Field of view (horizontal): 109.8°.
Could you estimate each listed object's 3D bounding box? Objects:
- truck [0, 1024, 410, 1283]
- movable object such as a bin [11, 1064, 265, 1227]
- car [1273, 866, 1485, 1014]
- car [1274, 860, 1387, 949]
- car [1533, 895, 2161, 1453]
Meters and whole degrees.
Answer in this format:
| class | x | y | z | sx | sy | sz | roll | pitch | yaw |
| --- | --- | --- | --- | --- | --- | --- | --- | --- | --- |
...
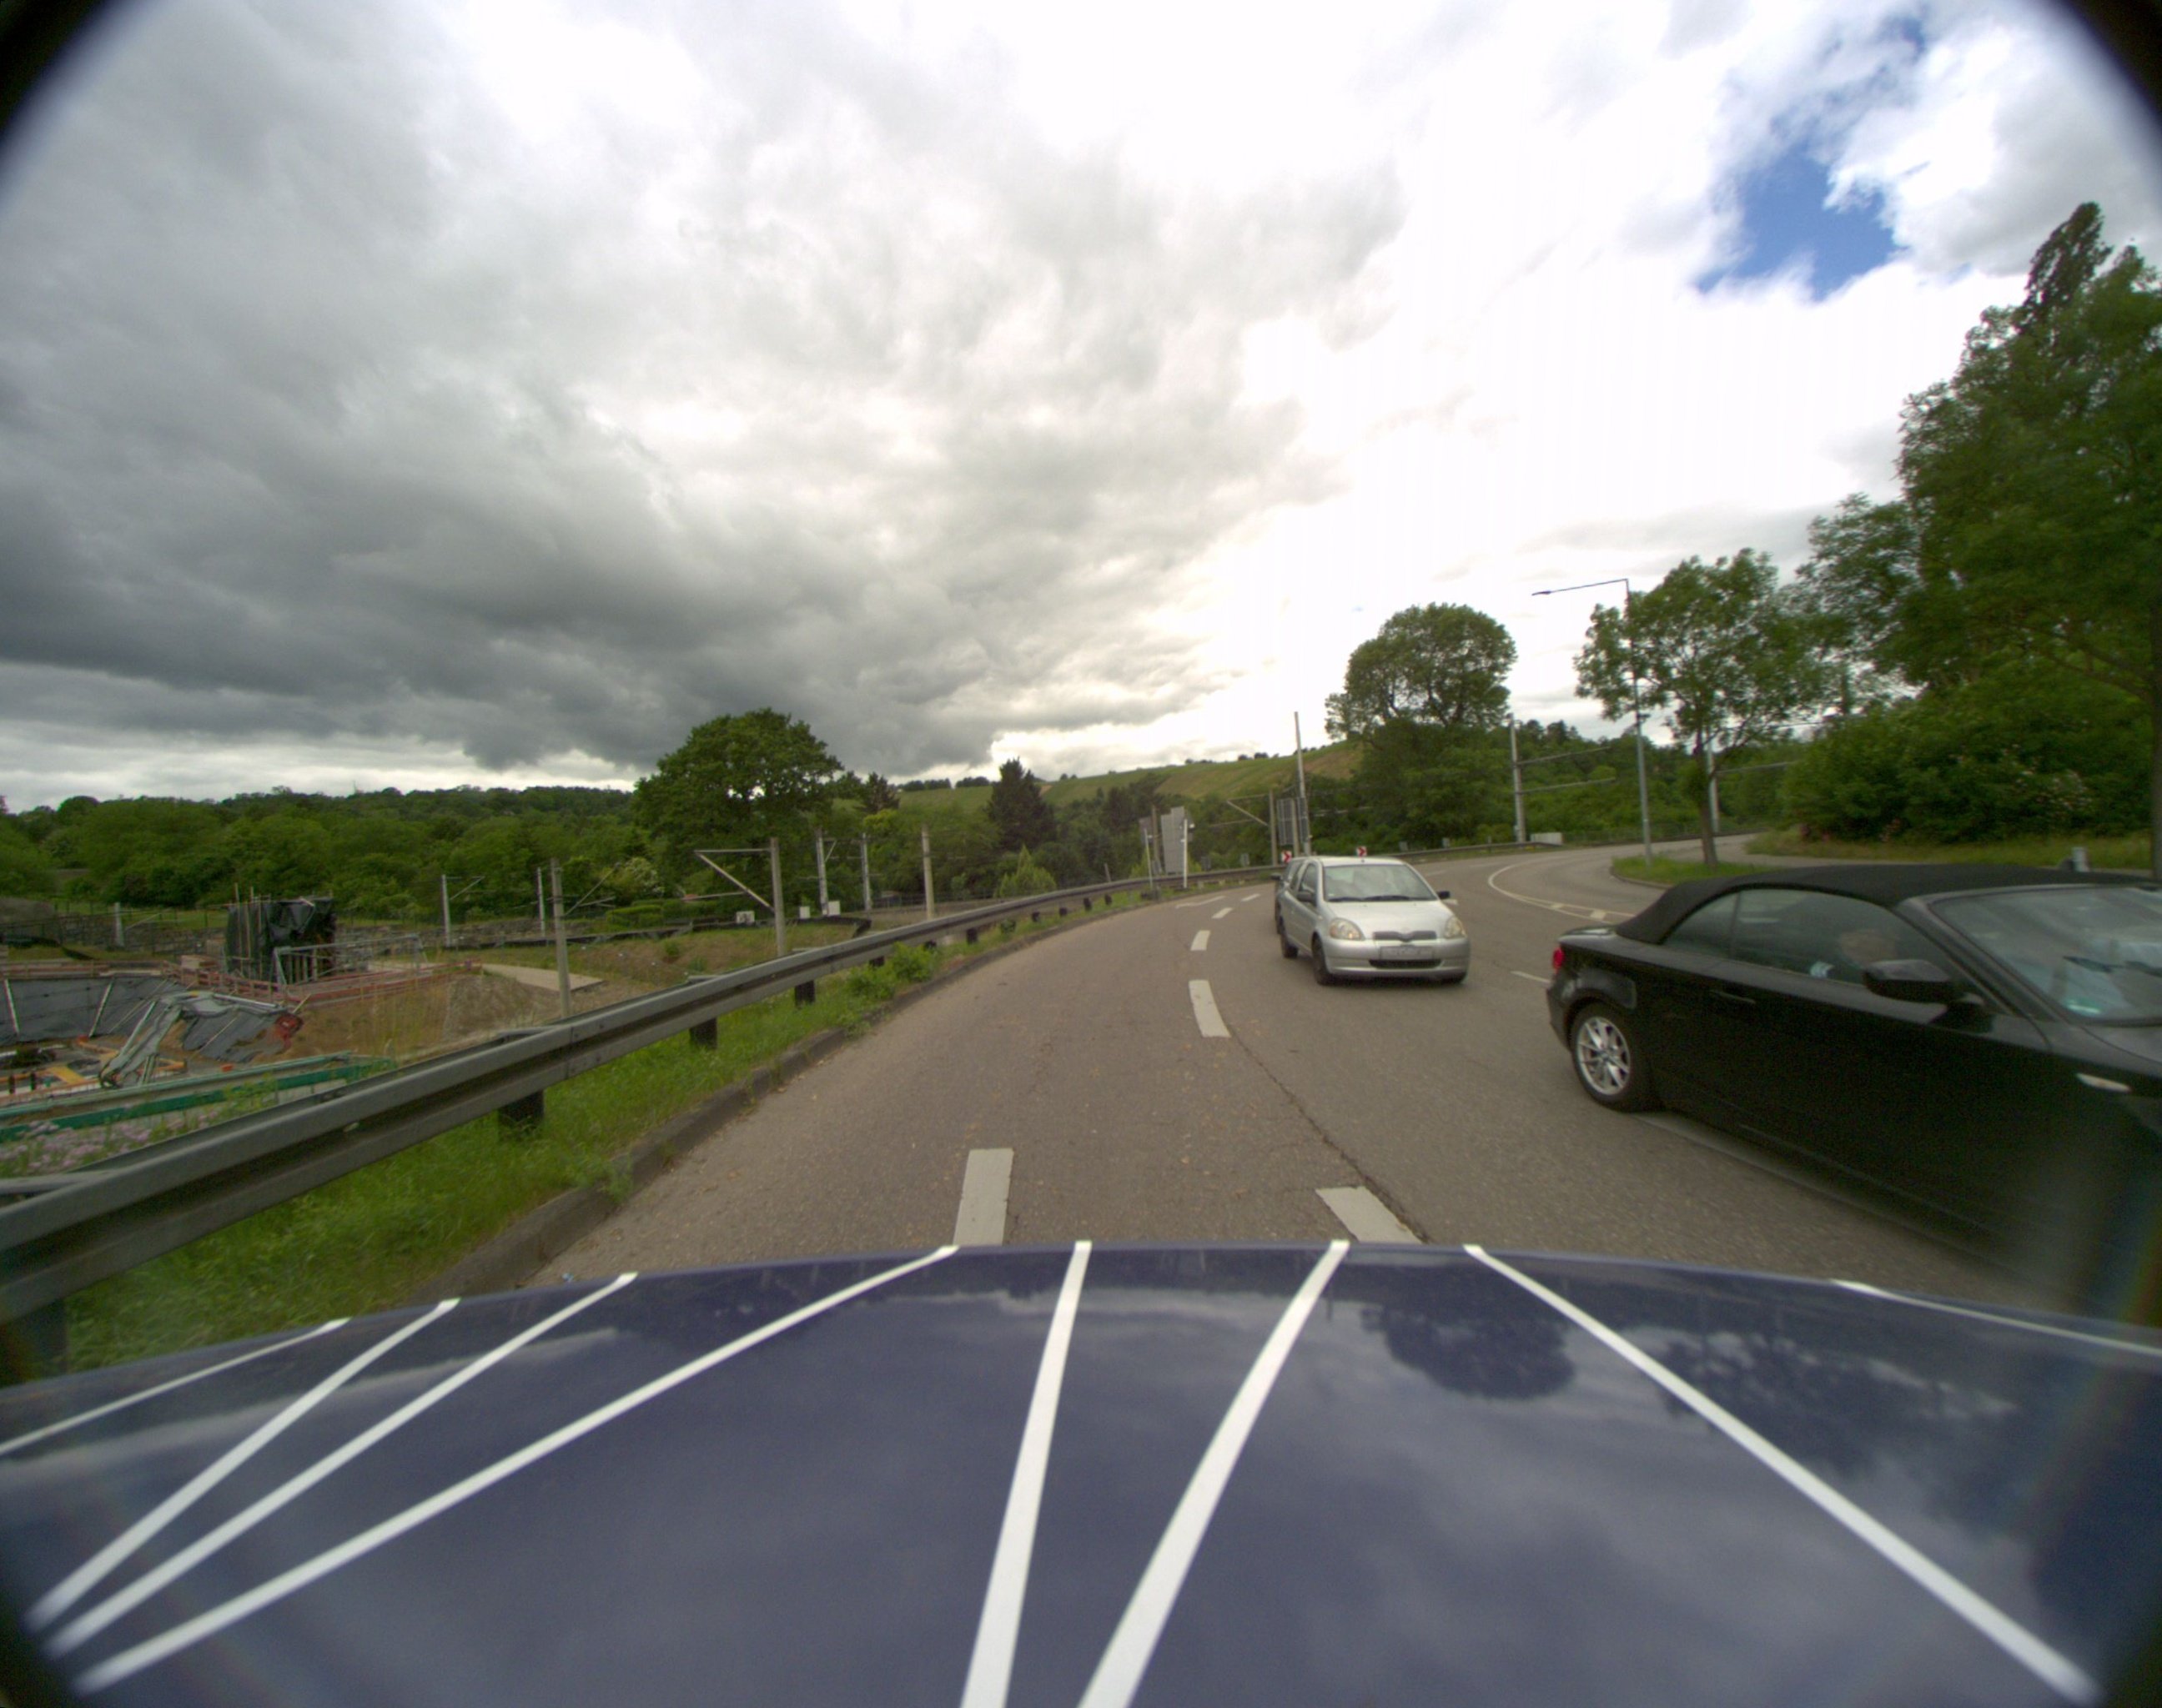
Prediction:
| class | x | y | z | sx | sy | sz | roll | pitch | yaw |
| --- | --- | --- | --- | --- | --- | --- | --- | --- | --- |
| truck | -23.540 | 7.151 | 17.875 | 2.841 | 3.869 | 11.637 | -4 | -2 | 19 |
| movable object such as a bin | -26.499 | 7.965 | 21.469 | 3.039 | 2.732 | 4.297 | -4 | -2 | 36 |
| car | 3.649 | 0.966 | 9.973 | 1.672 | 1.461 | 3.630 | -3 | 0 | 7 |
| car | 5.054 | 0.931 | 15.915 | 1.875 | 1.468 | 4.969 | -2 | 0 | 15 |
| car | 3.742 | 0.953 | 2.912 | 1.567 | 1.360 | 4.084 | -2 | -1 | 0 |
